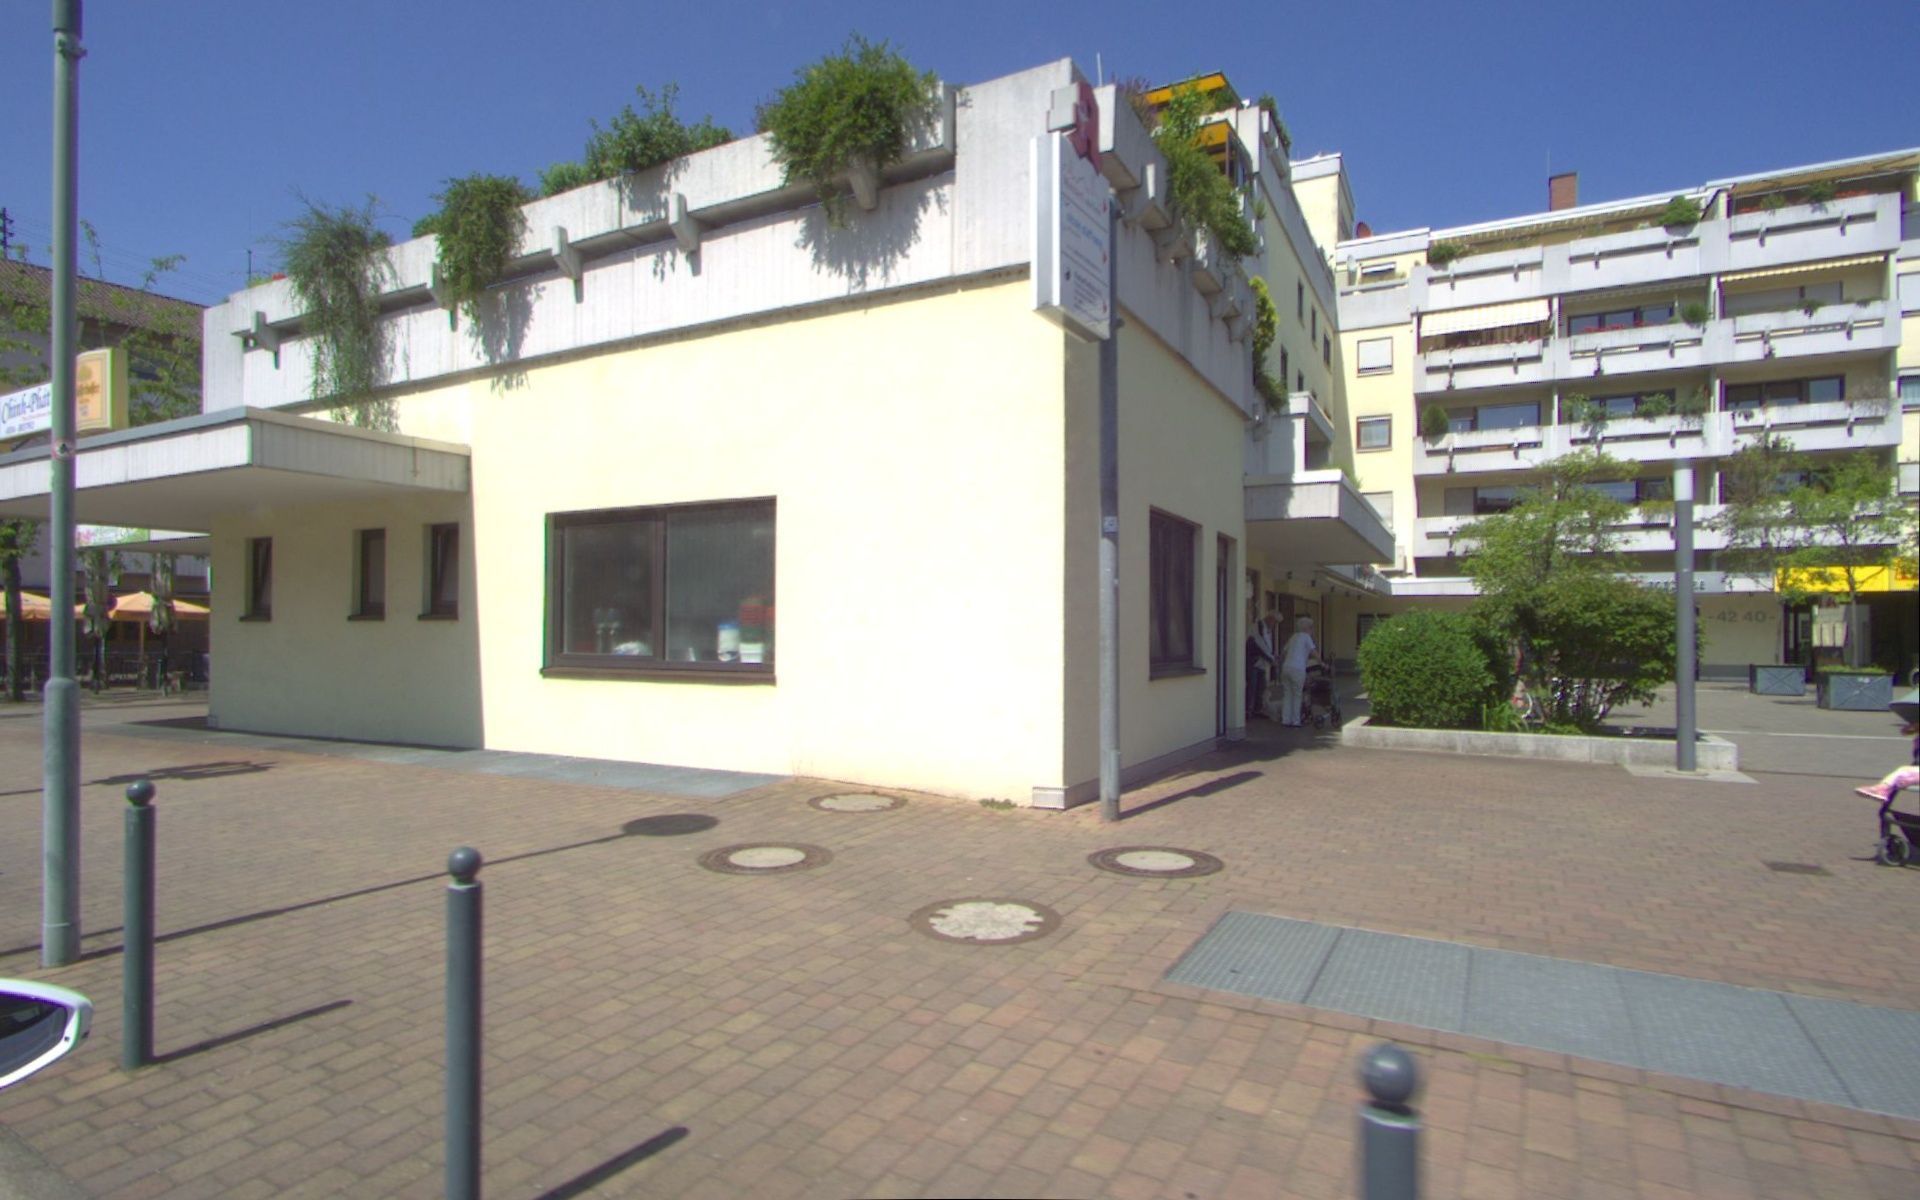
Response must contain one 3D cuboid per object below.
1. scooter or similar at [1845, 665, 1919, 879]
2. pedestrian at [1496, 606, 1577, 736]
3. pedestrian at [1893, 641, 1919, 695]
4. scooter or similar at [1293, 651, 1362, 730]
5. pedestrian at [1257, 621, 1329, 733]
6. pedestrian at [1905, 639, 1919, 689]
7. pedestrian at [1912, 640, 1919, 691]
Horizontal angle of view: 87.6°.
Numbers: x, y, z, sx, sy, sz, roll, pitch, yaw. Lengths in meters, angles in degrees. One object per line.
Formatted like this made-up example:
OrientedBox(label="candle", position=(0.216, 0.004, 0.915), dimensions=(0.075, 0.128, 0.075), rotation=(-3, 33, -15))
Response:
OrientedBox(label="scooter or similar", position=(5.576, 0.928, 5.463), dimensions=(1.024, 1.121, 0.627), rotation=(1, -1, -11))
OrientedBox(label="pedestrian", position=(8.087, 0.978, 14.086), dimensions=(0.887, 1.759, 0.702), rotation=(0, -1, 22))
OrientedBox(label="pedestrian", position=(24.343, 1.646, 23.973), dimensions=(2.729, 1.290, 0.985), rotation=(0, -1, 23))
OrientedBox(label="scooter or similar", position=(5.322, 1.294, 14.508), dimensions=(0.795, 1.088, 0.587), rotation=(1, -1, -35))
OrientedBox(label="pedestrian", position=(4.677, 1.054, 14.064), dimensions=(0.801, 1.516, 0.615), rotation=(1, -1, -35))
OrientedBox(label="pedestrian", position=(25.851, 1.631, 25.254), dimensions=(2.729, 1.290, 0.985), rotation=(0, -1, 23))
OrientedBox(label="pedestrian", position=(25.374, 1.641, 24.556), dimensions=(2.729, 1.290, 0.985), rotation=(0, -1, 23))
